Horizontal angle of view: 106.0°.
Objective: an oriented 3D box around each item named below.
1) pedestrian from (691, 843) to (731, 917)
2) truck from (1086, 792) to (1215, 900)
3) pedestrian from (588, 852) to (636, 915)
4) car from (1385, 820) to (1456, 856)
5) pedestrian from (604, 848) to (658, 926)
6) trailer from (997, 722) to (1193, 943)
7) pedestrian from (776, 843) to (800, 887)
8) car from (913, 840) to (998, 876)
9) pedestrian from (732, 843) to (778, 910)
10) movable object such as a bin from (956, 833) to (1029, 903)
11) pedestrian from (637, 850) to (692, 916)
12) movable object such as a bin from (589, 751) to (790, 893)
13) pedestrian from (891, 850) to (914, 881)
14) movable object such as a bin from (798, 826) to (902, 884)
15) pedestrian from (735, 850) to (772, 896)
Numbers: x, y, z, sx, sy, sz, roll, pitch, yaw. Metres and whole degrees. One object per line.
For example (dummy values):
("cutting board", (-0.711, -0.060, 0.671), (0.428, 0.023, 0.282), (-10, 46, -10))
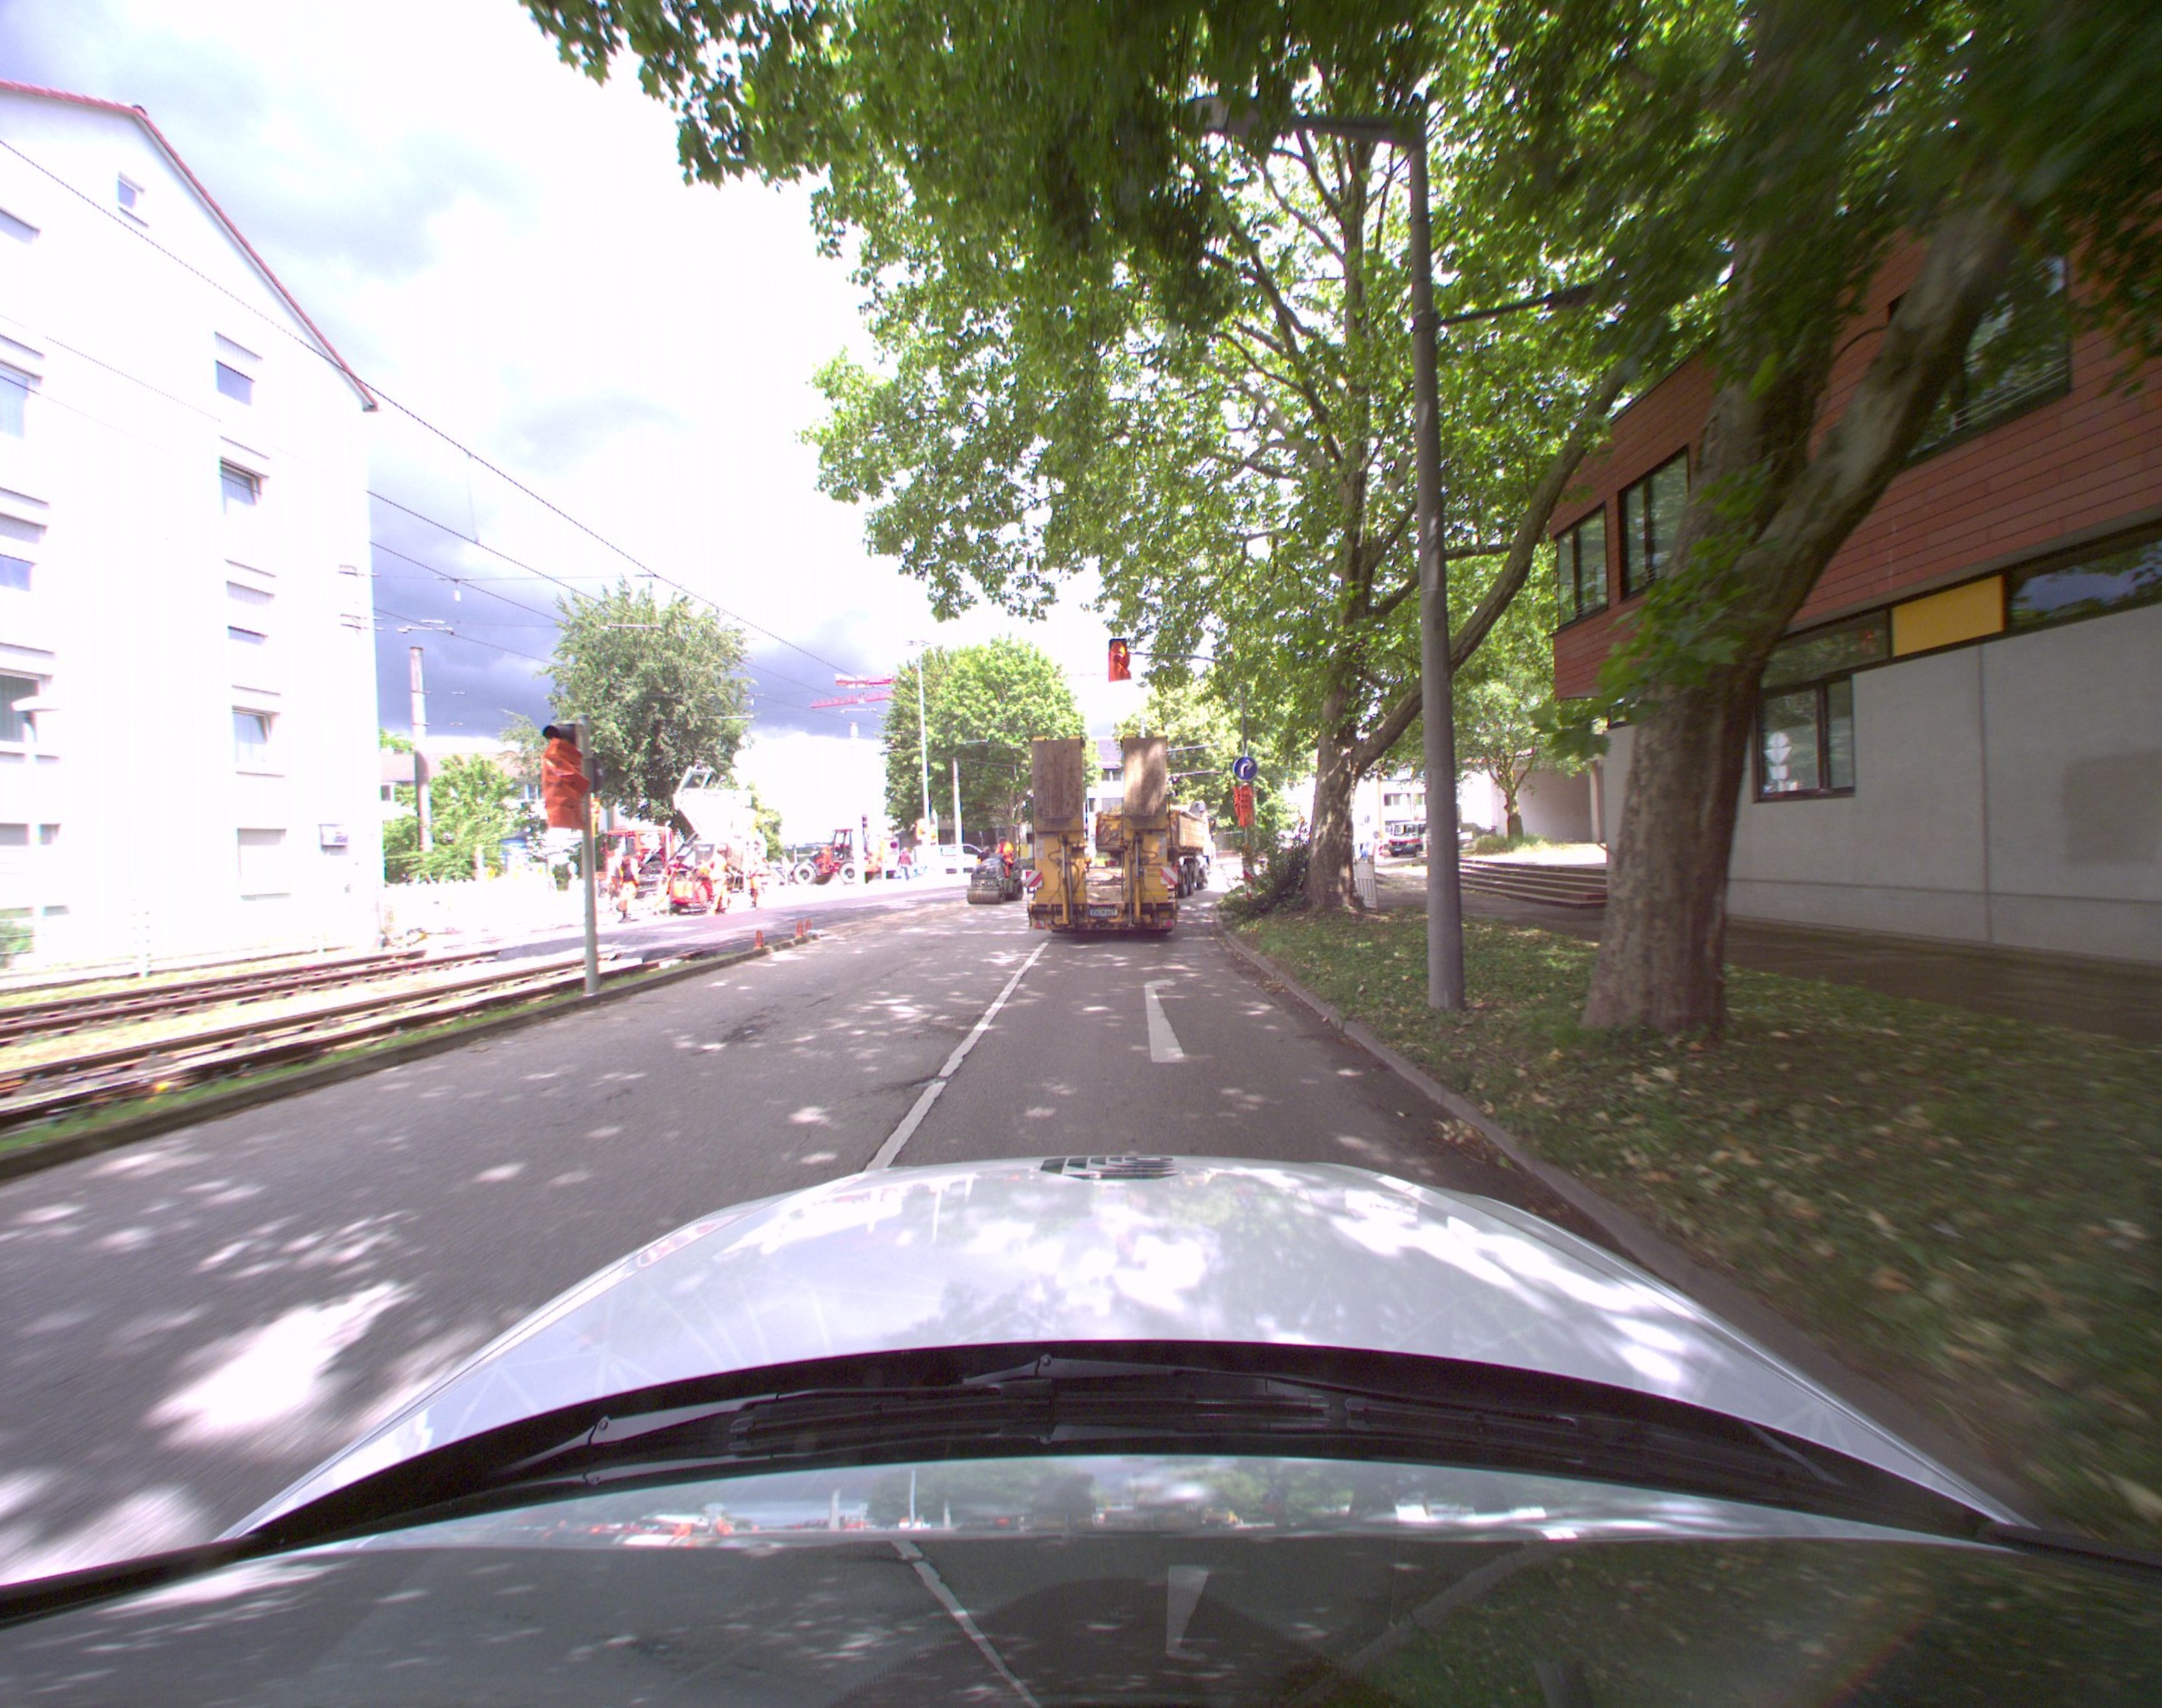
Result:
("pedestrian", (-9.601, 0.657, 21.114), (0.890, 1.867, 0.830), (-1, 0, -27))
("truck", (2.674, -0.220, 28.038), (2.967, 3.135, 7.920), (-1, 0, 15))
("pedestrian", (-12.692, 0.786, 22.059), (0.826, 1.645, 0.894), (-1, 0, 42))
("car", (23.058, -1.111, 55.320), (4.261, 2.365, 2.140), (-1, 0, -26))
("pedestrian", (-10.573, 0.748, 19.133), (0.893, 1.760, 0.827), (-1, 0, -44))
("trailer", (0.864, -0.332, 18.829), (3.138, 3.552, 11.117), (-1, 0, 7))
("pedestrian", (-12.749, 0.477, 35.449), (0.834, 1.867, 0.885), (-1, 0, -10))
("car", (-7.871, 0.232, 50.835), (5.094, 2.102, 1.968), (-1, 0, -13))
("pedestrian", (-9.338, 0.634, 23.359), (0.877, 1.867, 0.842), (-1, 0, 30))
("movable object such as a bin", (-2.635, 0.403, 24.686), (1.389, 2.013, 2.565), (-1, 0, 13))
("pedestrian", (-11.172, 0.759, 21.844), (1.117, 1.715, 0.877), (-1, 0, -43))
("movable object such as a bin", (-16.713, -1.149, 34.536), (9.115, 5.414, 2.680), (-1, 0, 28))
("pedestrian", (-8.426, 0.539, 38.472), (0.913, 1.409, 0.753), (-1, 0, -1))
("movable object such as a bin", (-10.947, 0.067, 38.581), (4.325, 2.629, 2.234), (-1, 0, 28))
("pedestrian", (-12.102, 0.688, 30.124), (0.879, 1.645, 0.903), (-1, 0, 11))
